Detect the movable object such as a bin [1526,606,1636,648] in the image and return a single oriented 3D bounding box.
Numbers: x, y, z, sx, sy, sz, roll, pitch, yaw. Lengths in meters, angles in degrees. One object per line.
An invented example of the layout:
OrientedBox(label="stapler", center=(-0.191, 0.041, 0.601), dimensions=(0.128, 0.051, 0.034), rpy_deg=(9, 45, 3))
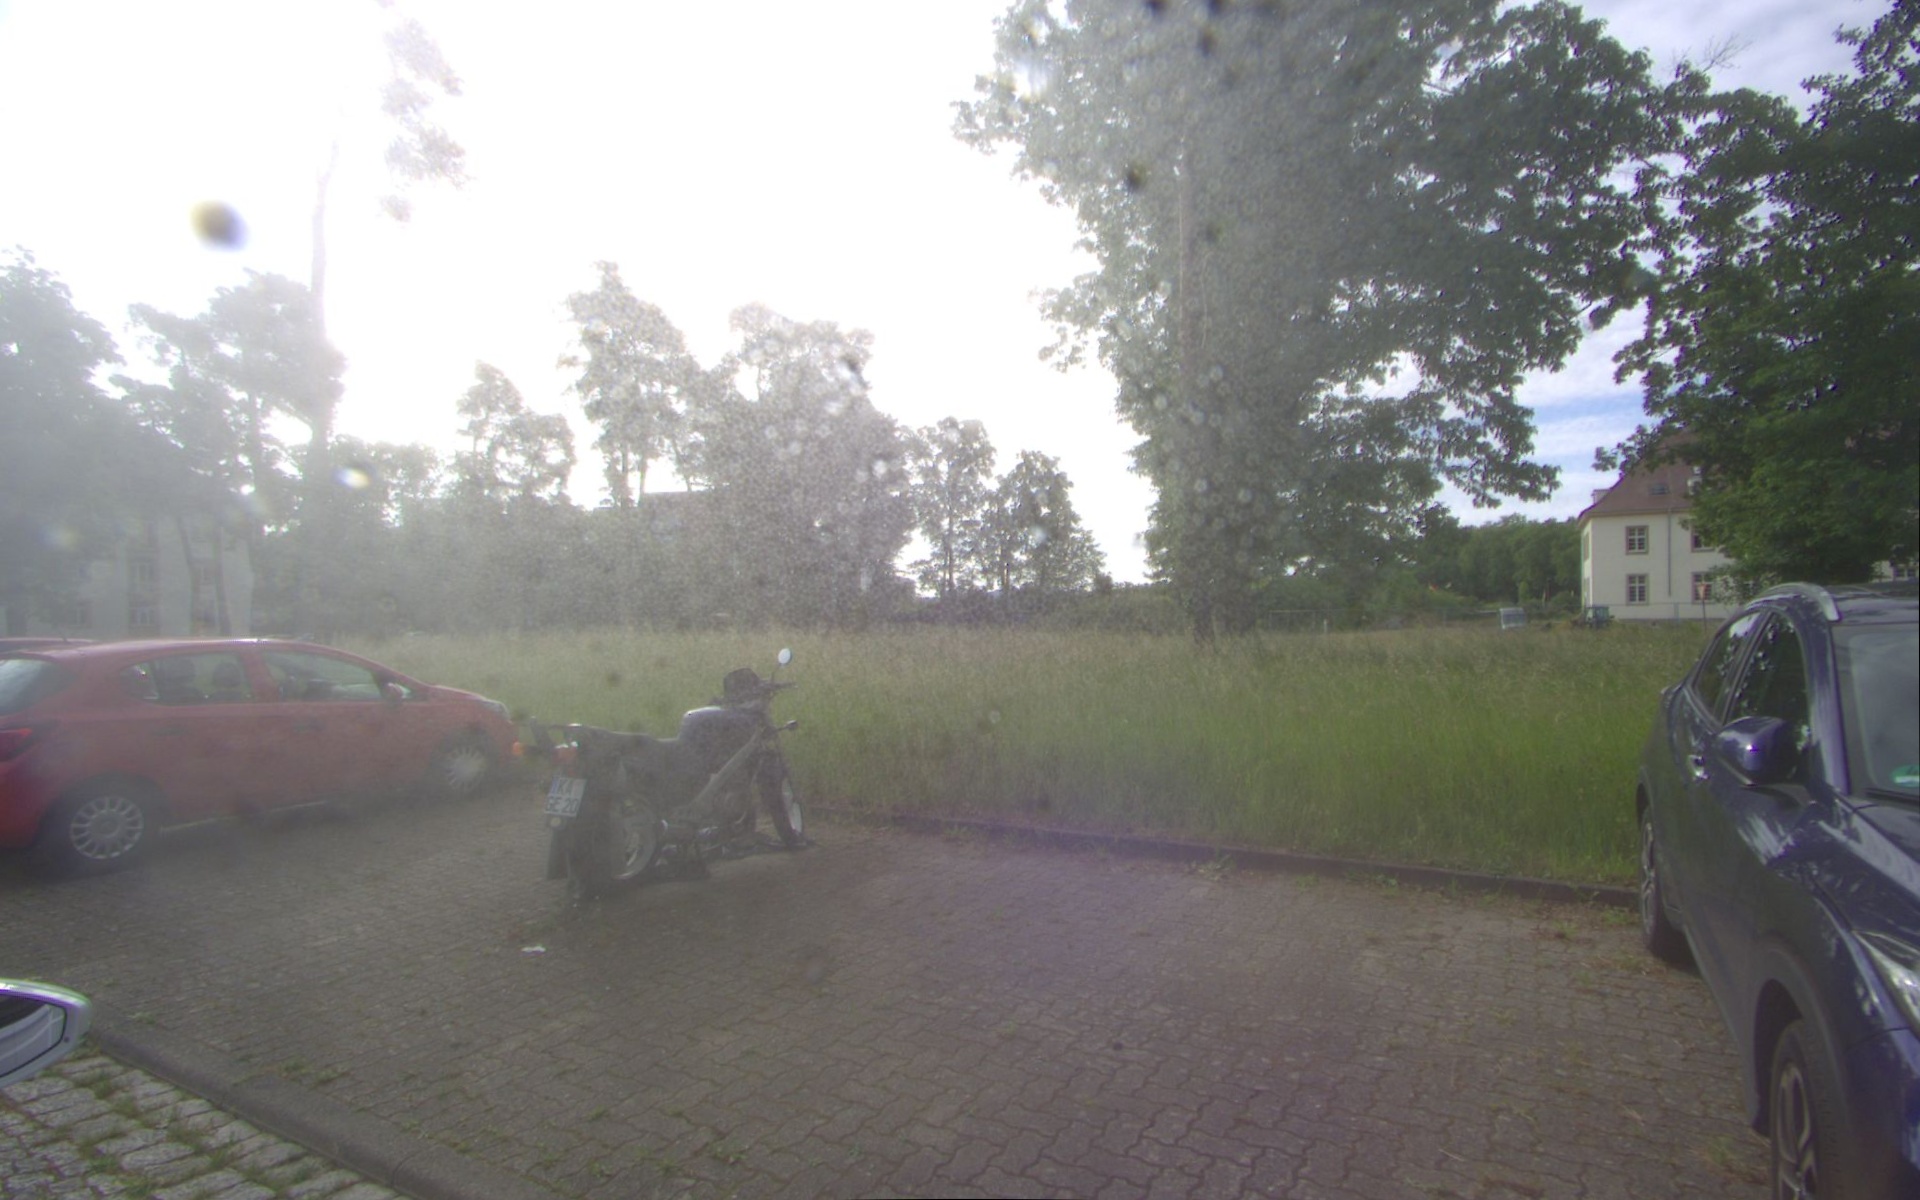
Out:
OrientedBox(label="movable object such as a bin", center=(41.652, 1.824, 67.322), dimensions=(2.153, 2.688, 5.924), rpy_deg=(1, -2, -42))

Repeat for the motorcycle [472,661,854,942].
OrientedBox(label="motorcycle", center=(-1.600, 1.027, 5.950), dimensions=(0.783, 1.201, 2.325), rpy_deg=(-1, 0, 27))

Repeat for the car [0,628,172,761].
OrientedBox(label="car", center=(-11.961, 1.142, 11.825), dimensions=(1.725, 1.479, 3.786), rpy_deg=(-1, 0, 30))

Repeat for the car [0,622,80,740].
OrientedBox(label="car", center=(-14.323, 1.137, 12.973), dimensions=(1.724, 1.573, 4.025), rpy_deg=(-1, 0, 27))

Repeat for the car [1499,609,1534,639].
OrientedBox(label="car", center=(44.851, 1.948, 80.792), dimensions=(1.885, 2.378, 4.587), rpy_deg=(-1, -2, 22))

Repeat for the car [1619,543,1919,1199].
OrientedBox(label="car", center=(3.056, 0.717, 2.742), dimensions=(1.767, 1.591, 4.157), rpy_deg=(-2, -2, 30))

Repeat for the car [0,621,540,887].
OrientedBox(label="car", center=(-5.568, 0.972, 7.963), dimensions=(1.752, 1.479, 3.821), rpy_deg=(-1, 0, 29))
